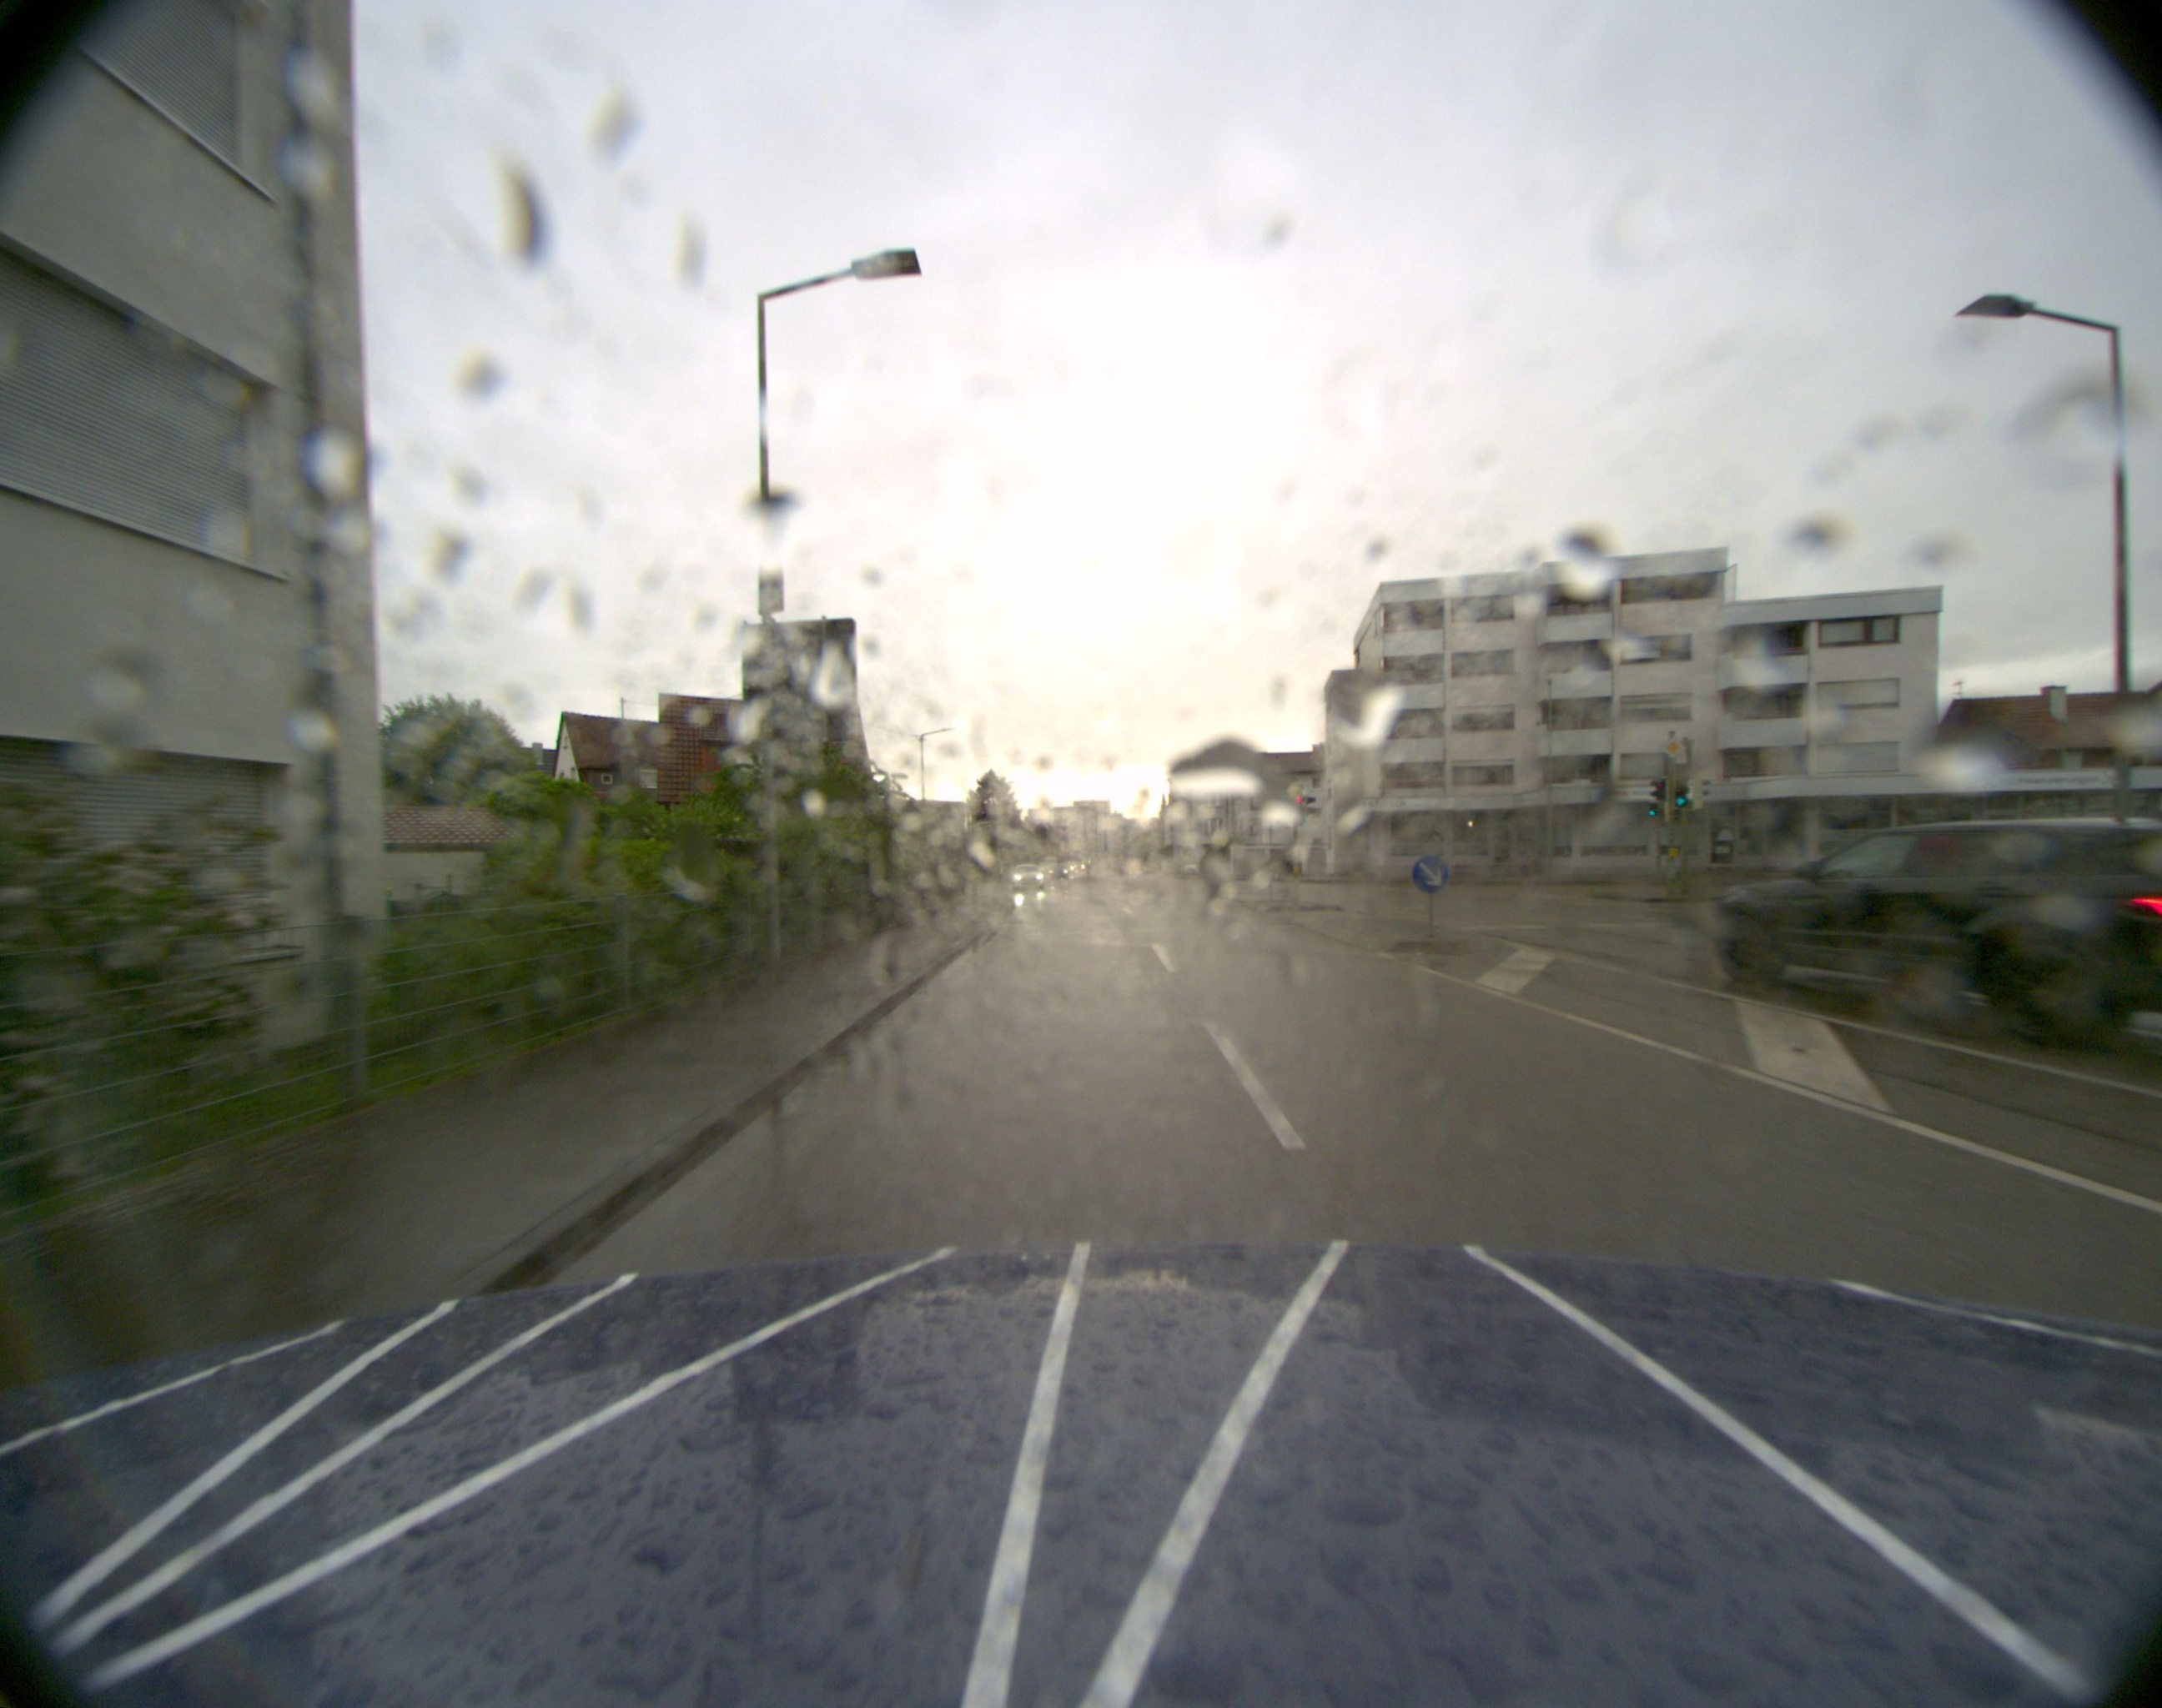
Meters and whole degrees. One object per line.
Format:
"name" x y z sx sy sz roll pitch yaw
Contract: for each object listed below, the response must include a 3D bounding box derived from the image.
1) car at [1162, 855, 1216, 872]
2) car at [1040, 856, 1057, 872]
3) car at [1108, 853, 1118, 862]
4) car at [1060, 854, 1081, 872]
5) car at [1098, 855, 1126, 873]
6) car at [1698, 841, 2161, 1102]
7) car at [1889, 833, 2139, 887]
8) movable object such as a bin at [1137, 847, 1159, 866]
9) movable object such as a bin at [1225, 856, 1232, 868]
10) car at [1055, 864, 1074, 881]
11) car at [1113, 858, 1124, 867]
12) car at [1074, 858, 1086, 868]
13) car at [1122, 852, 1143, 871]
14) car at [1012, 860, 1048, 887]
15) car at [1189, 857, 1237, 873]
"car" 11.561 1.012 81.469 5.469 1.674 2.150 -2 0 16
"car" -3.899 1.183 91.725 1.999 1.849 4.000 0 0 -1
"car" 6.884 0.819 163.357 2.102 1.822 4.735 -2 0 4
"car" -1.171 1.027 86.583 1.998 2.002 4.002 -1 0 5
"car" 4.180 1.406 104.010 2.097 2.001 5.975 -8 -1 -13
"car" 7.540 0.697 6.170 1.806 1.548 4.320 -2 0 5
"car" 27.075 0.195 22.317 4.276 1.426 1.838 -2 0 35
"movable object such as a bin" 10.315 0.427 117.093 2.922 2.825 2.199 -2 0 17
"movable object such as a bin" 11.717 0.610 60.275 0.500 0.955 0.602 -1 0 12
"car" -1.530 1.704 70.737 1.651 1.547 3.351 -2 0 1
"car" 6.450 1.417 130.300 1.792 1.463 4.164 -2 0 1
"car" -0.209 1.576 138.038 1.998 1.849 4.001 0 0 2
"car" 5.766 0.804 85.699 1.999 2.002 4.651 -2 0 -1
"car" -2.928 1.086 44.301 1.830 1.431 4.344 -2 0 -1
"car" 13.285 1.081 76.741 4.621 1.487 1.930 -1 0 5
